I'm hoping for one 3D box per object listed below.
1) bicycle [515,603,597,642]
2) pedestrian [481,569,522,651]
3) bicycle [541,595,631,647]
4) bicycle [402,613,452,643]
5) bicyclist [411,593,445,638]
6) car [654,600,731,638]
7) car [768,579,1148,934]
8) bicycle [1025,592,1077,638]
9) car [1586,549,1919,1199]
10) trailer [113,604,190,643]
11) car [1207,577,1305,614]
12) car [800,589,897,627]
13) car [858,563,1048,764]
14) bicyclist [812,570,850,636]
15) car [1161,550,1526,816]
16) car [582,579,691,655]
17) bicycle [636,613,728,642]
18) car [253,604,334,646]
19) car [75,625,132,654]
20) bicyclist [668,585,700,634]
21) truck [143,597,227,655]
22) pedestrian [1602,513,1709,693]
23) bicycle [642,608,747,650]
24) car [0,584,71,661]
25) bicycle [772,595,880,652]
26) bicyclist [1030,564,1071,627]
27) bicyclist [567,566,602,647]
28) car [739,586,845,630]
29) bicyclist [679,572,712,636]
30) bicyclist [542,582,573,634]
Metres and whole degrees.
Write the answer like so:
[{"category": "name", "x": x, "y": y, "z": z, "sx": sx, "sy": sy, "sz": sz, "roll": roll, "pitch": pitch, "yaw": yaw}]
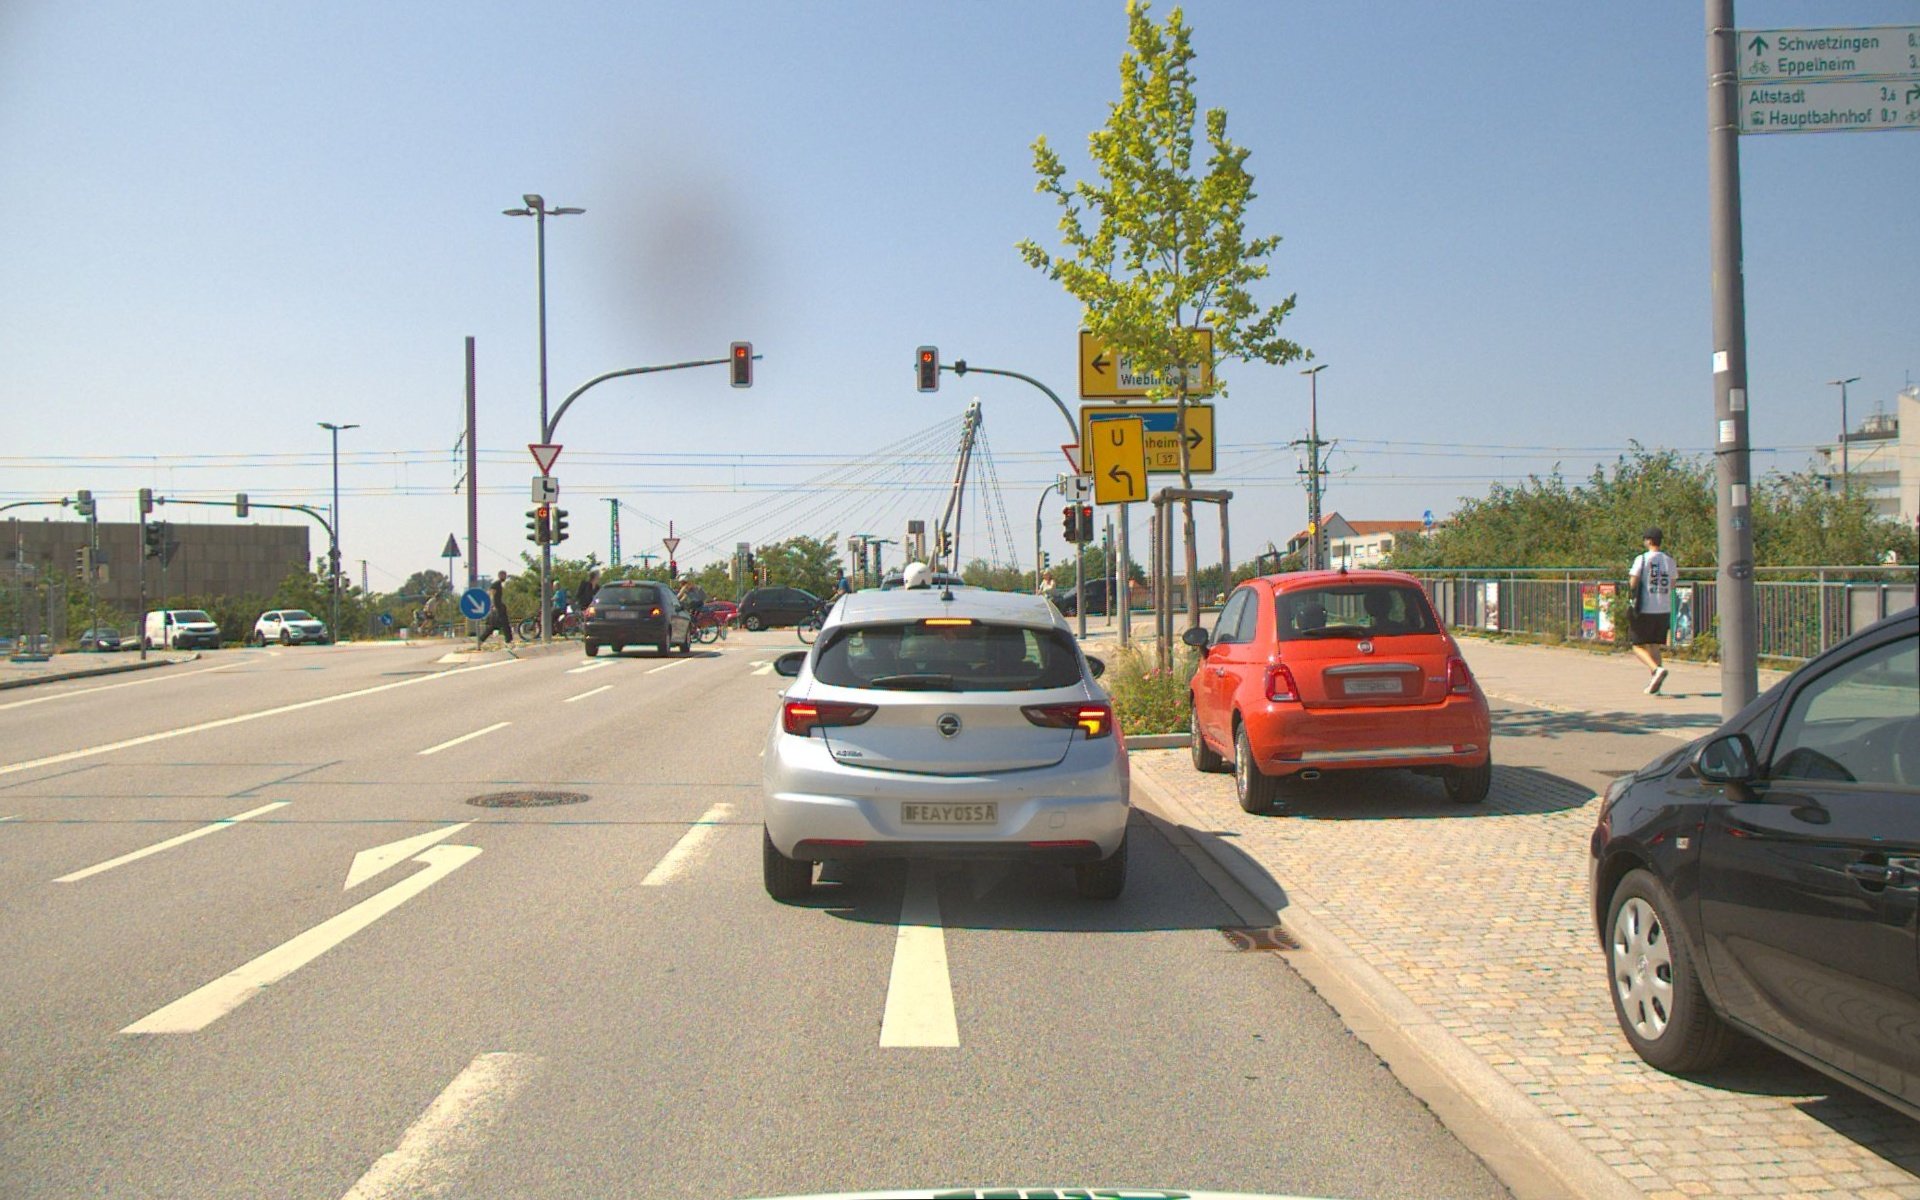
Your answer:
[{"category": "bicycle", "x": -11.941, "y": 0.653, "z": 48.951, "sx": 2.271, "sy": 1.153, "sz": 0.637, "roll": 0, "pitch": 0, "yaw": 0}, {"category": "pedestrian", "x": -10.753, "y": 0.237, "z": 38.813, "sx": 0.725, "sy": 1.896, "sz": 0.753, "roll": 1, "pitch": -1, "yaw": -3}, {"category": "bicycle", "x": -8.970, "y": 0.495, "z": 39.712, "sx": 2.036, "sy": 1.198, "sz": 0.556, "roll": 1, "pitch": -1, "yaw": 11}, {"category": "bicycle", "x": -19.875, "y": 1.042, "z": 61.665, "sx": 1.828, "sy": 1.087, "sz": 0.578, "roll": 1, "pitch": -1, "yaw": 22}, {"category": "bicyclist", "x": -19.846, "y": 0.579, "z": 61.714, "sx": 0.756, "sy": 1.638, "sz": 0.949, "roll": 1, "pitch": -1, "yaw": 23}, {"category": "car", "x": -12.654, "y": 0.894, "z": 78.345, "sx": 3.310, "sy": 1.684, "sz": 1.648, "roll": 1, "pitch": -1, "yaw": 2}, {"category": "car", "x": -0.050, "y": 0.675, "z": 9.371, "sx": 1.656, "sy": 1.546, "sz": 4.270, "roll": 0, "pitch": 0, "yaw": -1}, {"category": "bicycle", "x": 2.356, "y": 0.385, "z": 42.592, "sx": 0.661, "sy": 1.147, "sz": 2.366, "roll": 1, "pitch": 0, "yaw": 20}, {"category": "car", "x": 2.914, "y": 0.662, "z": 3.705, "sx": 1.549, "sy": 1.582, "sz": 3.546, "roll": -3, "pitch": 1, "yaw": -1}, {"category": "trailer", "x": -39.028, "y": 1.131, "z": 79.776, "sx": 4.212, "sy": 1.807, "sz": 1.987, "roll": 1, "pitch": -1, "yaw": 43}, {"category": "car", "x": 14.207, "y": -0.204, "z": 79.441, "sx": 4.180, "sy": 1.703, "sz": 1.990, "roll": 1, "pitch": 0, "yaw": -18}, {"category": "car", "x": -4.343, "y": 0.310, "z": 64.739, "sx": 3.714, "sy": 1.386, "sz": 1.532, "roll": -1, "pitch": 1, "yaw": -3}, {"category": "car", "x": -0.102, "y": 0.558, "z": 16.184, "sx": 1.602, "sy": 1.703, "sz": 3.744, "roll": 1, "pitch": 0, "yaw": -1}, {"category": "bicyclist", "x": -3.144, "y": 0.077, "z": 40.387, "sx": 0.805, "sy": 1.587, "sz": 0.863, "roll": 1, "pitch": -1, "yaw": 2}, {"category": "car", "x": 2.593, "y": 0.481, "z": 12.100, "sx": 1.636, "sy": 1.566, "sz": 3.916, "roll": -2, "pitch": 1, "yaw": -1}, {"category": "car", "x": -6.336, "y": 0.329, "z": 32.636, "sx": 1.555, "sy": 1.419, "sz": 3.339, "roll": 0, "pitch": 0, "yaw": -1}, {"category": "bicycle", "x": -6.911, "y": 0.682, "z": 41.104, "sx": 2.200, "sy": 0.704, "sz": 0.516, "roll": 0, "pitch": 0, "yaw": 0}, {"category": "car", "x": -30.604, "y": 1.110, "z": 75.890, "sx": 3.974, "sy": 1.846, "sz": 1.920, "roll": 0, "pitch": 0, "yaw": 42}, {"category": "car", "x": -43.799, "y": 2.010, "z": 84.519, "sx": 1.652, "sy": 1.414, "sz": 3.727, "roll": 2, "pitch": -1, "yaw": -43}, {"category": "bicyclist", "x": -6.854, "y": 0.238, "z": 41.108, "sx": 0.643, "sy": 1.196, "sz": 0.731, "roll": 1, "pitch": -1, "yaw": 0}, {"category": "truck", "x": -35.941, "y": 1.188, "z": 76.660, "sx": 4.627, "sy": 2.585, "sz": 1.987, "roll": 0, "pitch": 0, "yaw": 43}, {"category": "pedestrian", "x": 7.411, "y": 0.035, "z": 17.654, "sx": 0.743, "sy": 1.862, "sz": 0.885, "roll": 1, "pitch": -1, "yaw": -1}, {"category": "bicycle", "x": -6.463, "y": 0.704, "z": 40.290, "sx": 2.453, "sy": 1.025, "sz": 0.605, "roll": 0, "pitch": 0, "yaw": 0}, {"category": "car", "x": -25.620, "y": 0.606, "z": 45.878, "sx": 1.651, "sy": 2.049, "sz": 3.962, "roll": 1, "pitch": 0, "yaw": -29}, {"category": "bicycle", "x": -3.252, "y": 0.562, "z": 40.388, "sx": 2.472, "sy": 1.153, "sz": 0.729, "roll": -5, "pitch": 2, "yaw": 2}, {"category": "bicyclist", "x": 2.336, "y": -0.103, "z": 42.524, "sx": 0.803, "sy": 1.596, "sz": 0.948, "roll": 1, "pitch": -1, "yaw": 20}, {"category": "bicyclist", "x": -9.011, "y": 0.164, "z": 39.708, "sx": 0.581, "sy": 1.920, "sz": 0.637, "roll": 1, "pitch": -1, "yaw": 11}, {"category": "car", "x": -6.259, "y": 0.312, "z": 61.800, "sx": 3.668, "sy": 1.611, "sz": 1.815, "roll": 0, "pitch": -1, "yaw": 4}, {"category": "bicyclist", "x": -6.442, "y": 0.107, "z": 40.301, "sx": 0.643, "sy": 1.528, "sz": 0.844, "roll": 1, "pitch": -1, "yaw": 0}, {"category": "bicyclist", "x": -11.901, "y": 0.244, "z": 48.974, "sx": 0.704, "sy": 1.530, "sz": 0.824, "roll": 1, "pitch": -1, "yaw": -1}]
